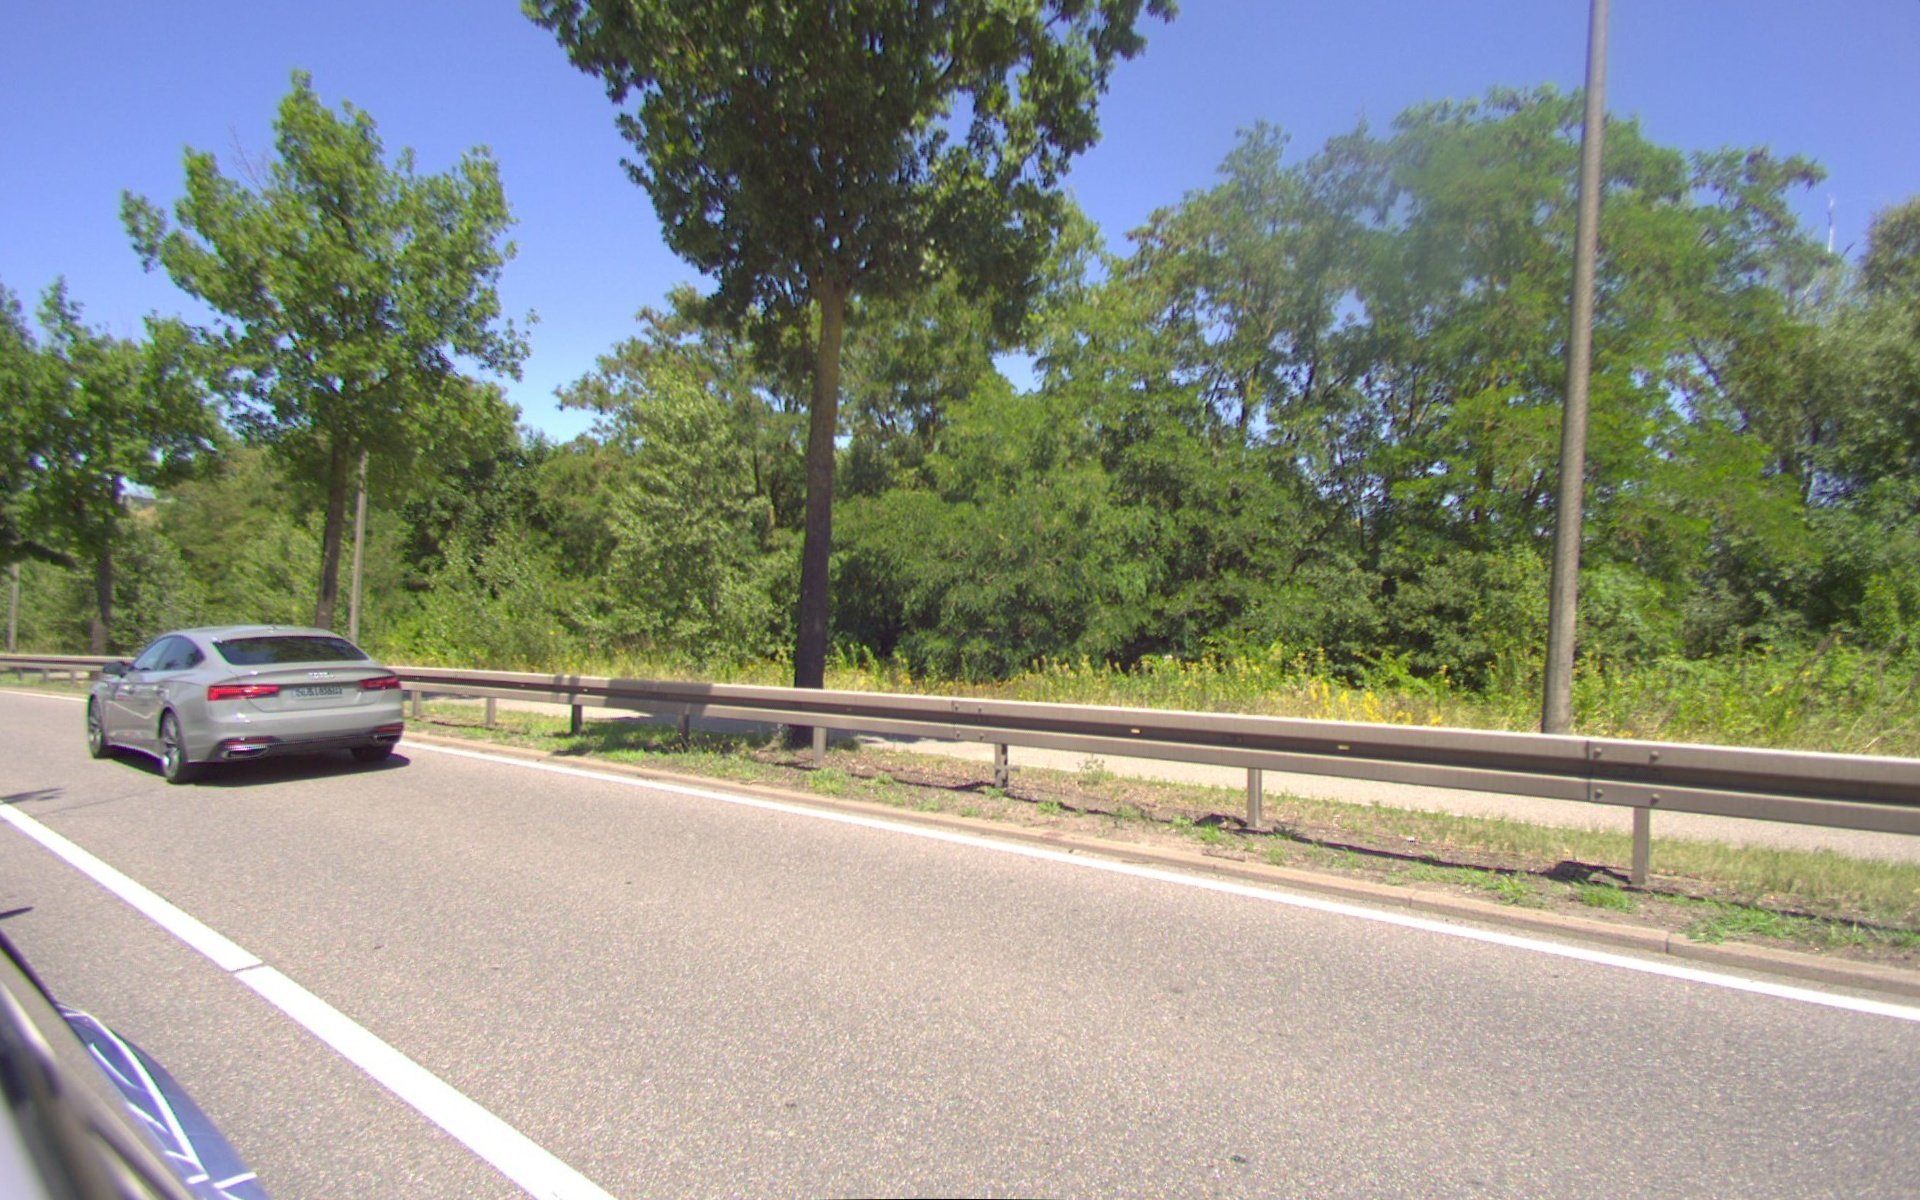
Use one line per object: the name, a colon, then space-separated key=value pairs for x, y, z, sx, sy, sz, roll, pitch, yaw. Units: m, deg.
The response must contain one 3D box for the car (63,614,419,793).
car: x=-7.369 y=0.876 z=10.206 sx=4.399 sy=1.406 sz=1.743 roll=-1 pitch=0 yaw=38
